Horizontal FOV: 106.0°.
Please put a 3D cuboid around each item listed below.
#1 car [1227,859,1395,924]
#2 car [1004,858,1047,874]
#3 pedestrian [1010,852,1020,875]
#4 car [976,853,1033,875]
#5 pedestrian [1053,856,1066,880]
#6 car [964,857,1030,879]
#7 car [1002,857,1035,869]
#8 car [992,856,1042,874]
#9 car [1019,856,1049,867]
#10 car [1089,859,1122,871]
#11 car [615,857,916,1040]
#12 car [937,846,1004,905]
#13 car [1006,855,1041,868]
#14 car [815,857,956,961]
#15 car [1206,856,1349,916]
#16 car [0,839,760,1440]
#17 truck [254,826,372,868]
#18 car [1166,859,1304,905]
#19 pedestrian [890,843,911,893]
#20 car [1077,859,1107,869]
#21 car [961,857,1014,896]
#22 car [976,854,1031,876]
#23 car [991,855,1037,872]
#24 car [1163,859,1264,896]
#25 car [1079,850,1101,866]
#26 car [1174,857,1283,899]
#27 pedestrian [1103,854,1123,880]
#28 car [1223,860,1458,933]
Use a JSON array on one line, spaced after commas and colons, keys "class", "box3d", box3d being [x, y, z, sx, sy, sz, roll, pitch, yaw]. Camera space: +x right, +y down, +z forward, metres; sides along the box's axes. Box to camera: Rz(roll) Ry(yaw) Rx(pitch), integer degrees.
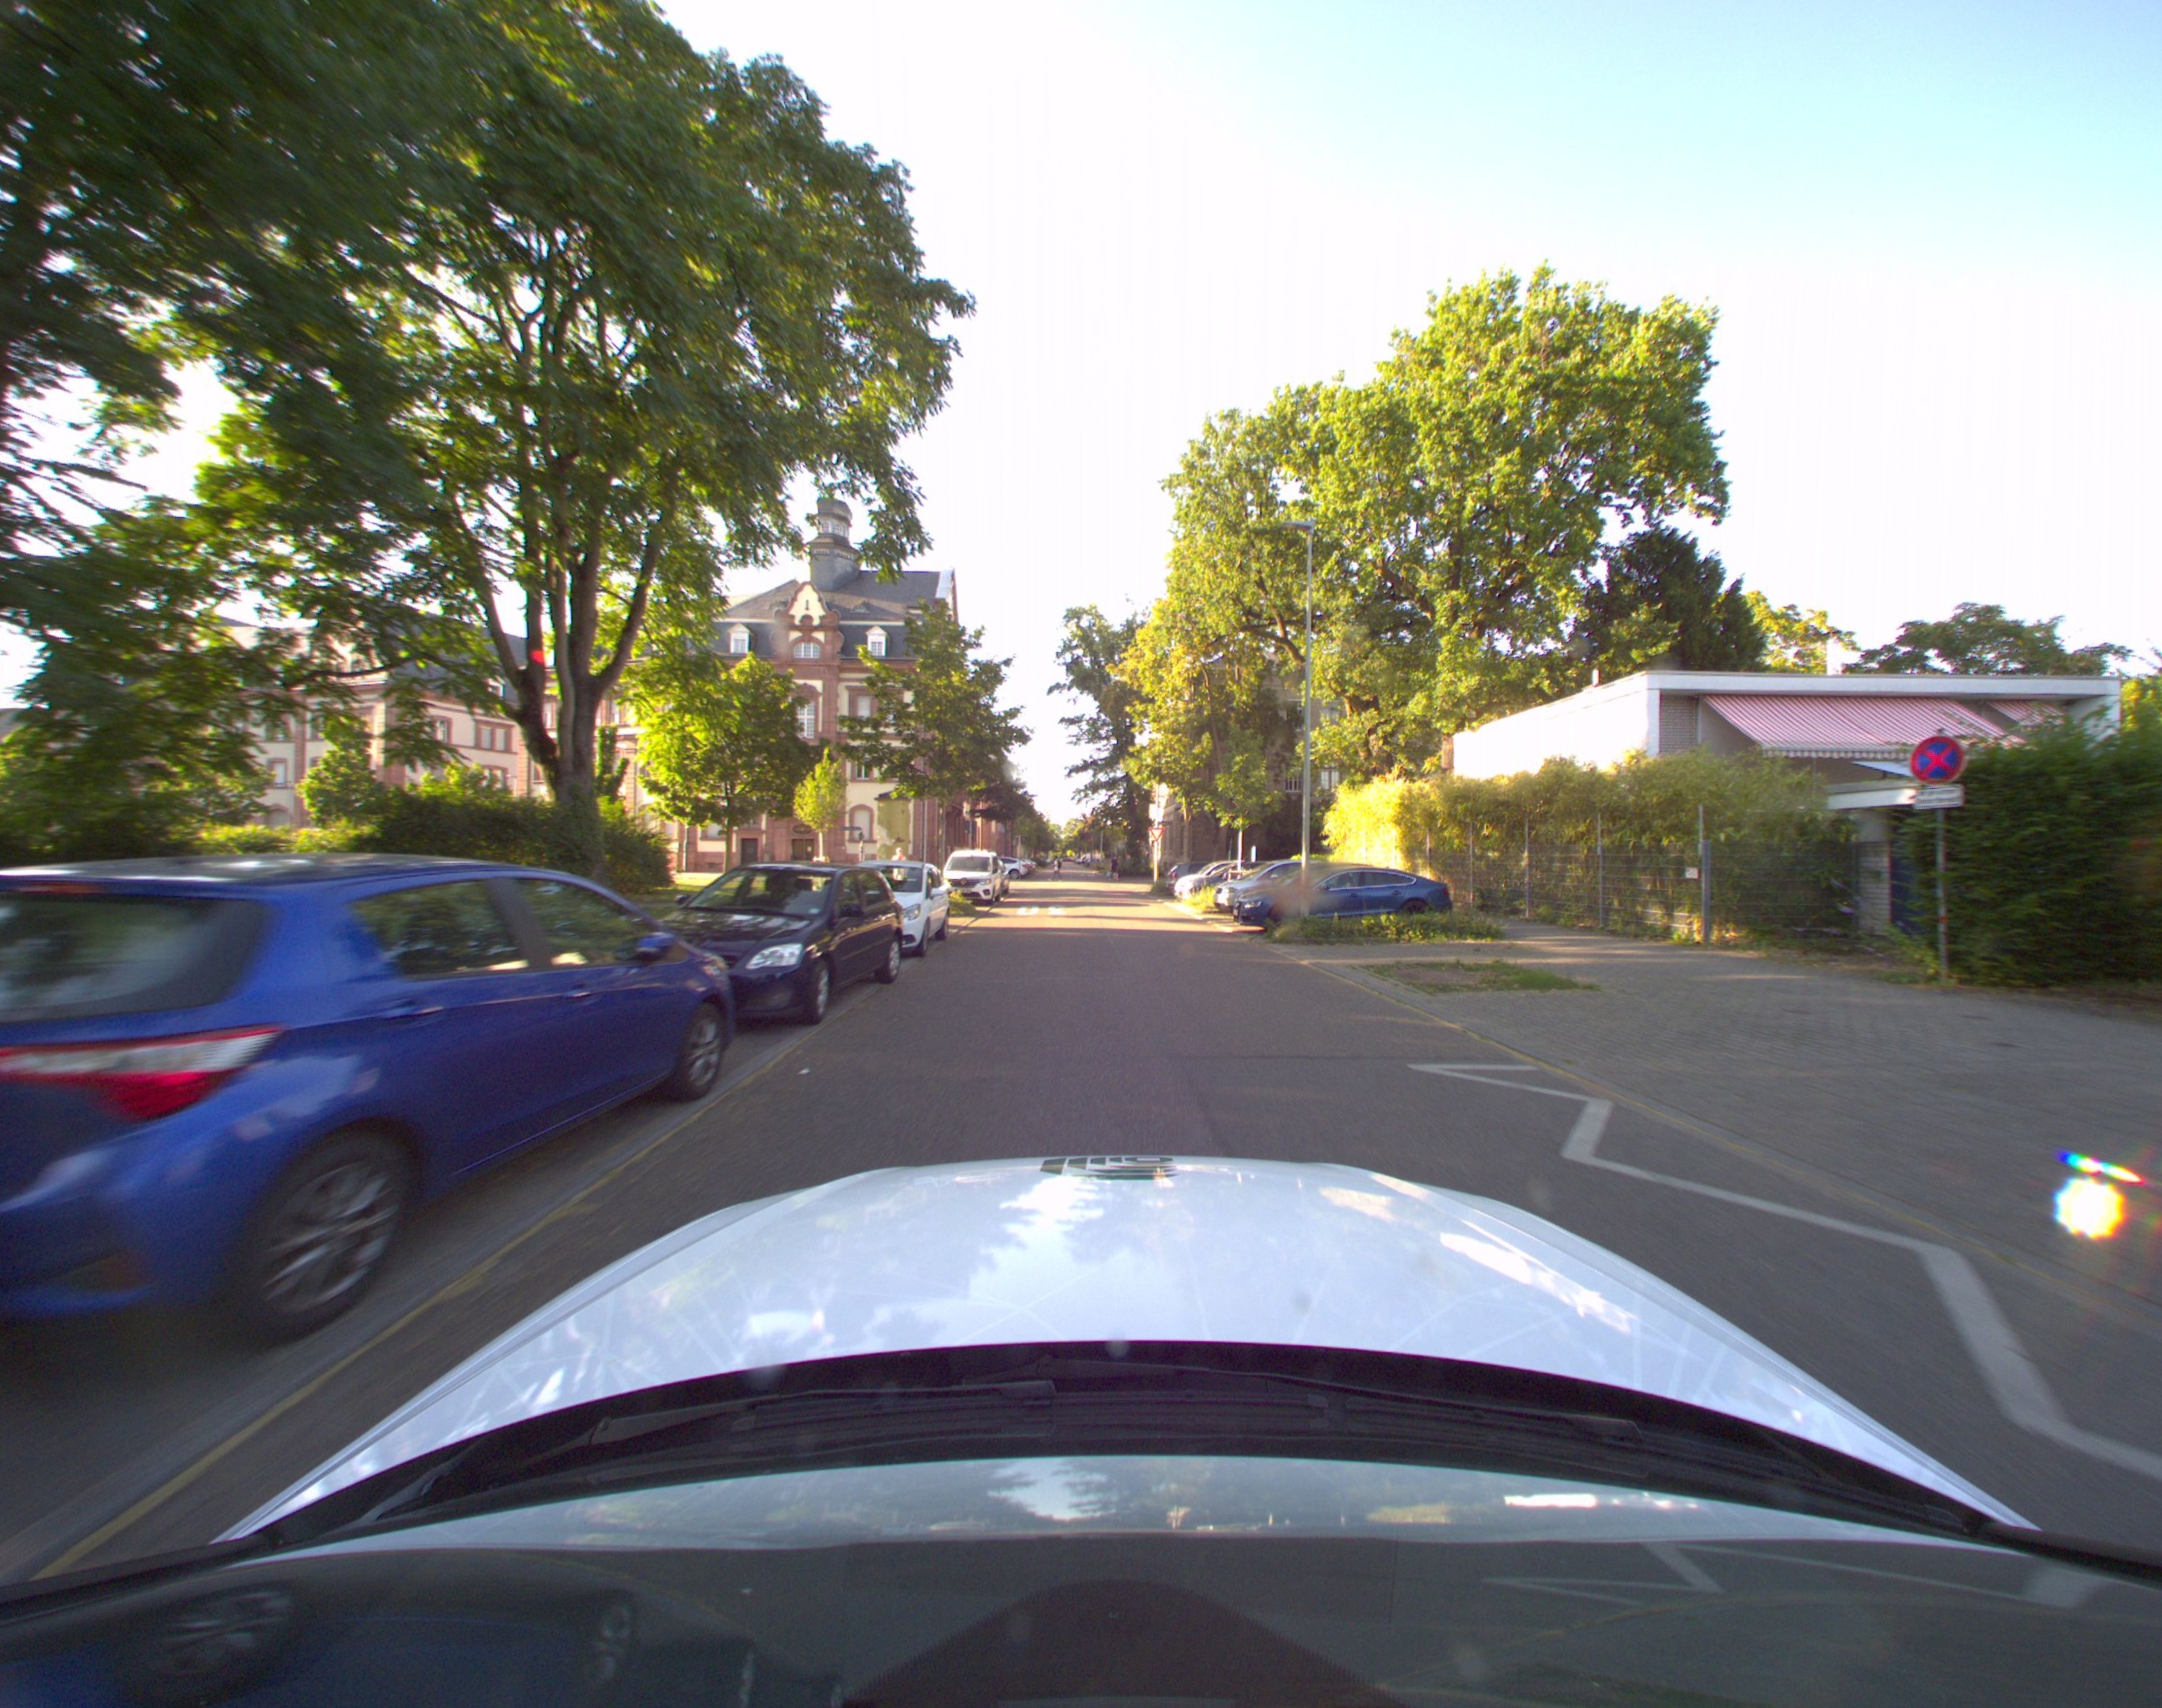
[{"class": "car", "box3d": [5.717, 0.921, 20.493, 3.675, 1.524, 1.789, 1, 0, -5]}, {"class": "car", "box3d": [-5.819, 1.237, 86.331, 4.473, 1.608, 1.840, 1, -1, -4]}, {"class": "pedestrian", "box3d": [-5.652, 0.823, 69.492, 0.785, 1.962, 0.718, 1, -2, -10]}, {"class": "car", "box3d": [-6.095, 0.804, 65.370, 4.473, 1.717, 1.840, 1, 0, -4]}, {"class": "pedestrian", "box3d": [-1.439, 0.938, 54.765, 0.784, 1.606, 0.719, 1, -2, -7]}, {"class": "car", "box3d": [-6.220, 1.047, 60.818, 4.832, 1.594, 1.840, 1, 0, -4]}, {"class": "car", "box3d": [-8.562, 1.196, 111.845, 4.473, 1.608, 1.840, 1, -1, -4]}, {"class": "car", "box3d": [-5.756, 0.989, 73.451, 4.473, 1.608, 1.840, 1, -1, -4]}, {"class": "car", "box3d": [-7.014, 1.119, 121.844, 4.473, 1.608, 1.840, 1, -1, -4]}, {"class": "car", "box3d": [3.401, 1.589, 113.916, 4.473, 1.608, 1.840, 1, -1, -4]}, {"class": "car", "box3d": [-3.031, 0.796, 8.769, 1.545, 1.494, 3.945, 1, 0, 2]}, {"class": "car", "box3d": [-3.700, 0.696, 27.954, 1.776, 1.841, 4.549, 1, 0, -2]}, {"class": "car", "box3d": [-7.566, 1.031, 107.322, 4.473, 1.608, 1.840, 1, -1, -4]}, {"class": "car", "box3d": [-3.203, 0.825, 14.054, 1.588, 1.526, 3.862, 1, 0, -2]}, {"class": "car", "box3d": [5.432, 0.856, 22.682, 3.495, 1.584, 1.755, 1, 0, -11]}, {"class": "car", "box3d": [-3.138, 0.733, 3.942, 1.633, 1.496, 3.704, 3, 0, 0]}, {"class": "truck", "box3d": [-58.856, -0.551, 62.448, 7.926, 3.029, 2.622, 1, -1, 14]}, {"class": "car", "box3d": [5.405, 0.970, 28.928, 4.483, 1.549, 1.888, 1, 0, -5]}, {"class": "pedestrian", "box3d": [-6.644, 0.504, 29.993, 0.598, 1.784, 0.945, 1, -1, -4]}, {"class": "car", "box3d": [1.743, 1.605, 130.720, 4.573, 1.608, 1.840, 1, -1, -4]}, {"class": "car", "box3d": [-3.938, 0.913, 34.921, 1.776, 1.505, 4.551, 1, 0, -1]}, {"class": "car", "box3d": [-6.402, 0.914, 67.525, 4.473, 1.717, 1.840, 1, 0, -4]}, {"class": "car", "box3d": [-6.555, 0.914, 80.489, 4.473, 1.608, 1.840, 1, -1, -4]}, {"class": "car", "box3d": [5.479, 1.003, 34.055, 3.941, 1.517, 1.873, 0, -3, 0]}, {"class": "car", "box3d": [2.089, 0.911, 186.983, 4.874, 3.618, 1.840, 1, -1, -3]}, {"class": "car", "box3d": [5.634, 0.915, 31.489, 3.939, 1.516, 1.675, 1, 0, 1]}, {"class": "pedestrian", "box3d": [2.304, 0.935, 59.281, 1.068, 1.858, 0.992, 1, -1, -33]}, {"class": "car", "box3d": [5.610, 0.906, 18.029, 4.574, 1.415, 1.922, -1, -1, -1]}]
